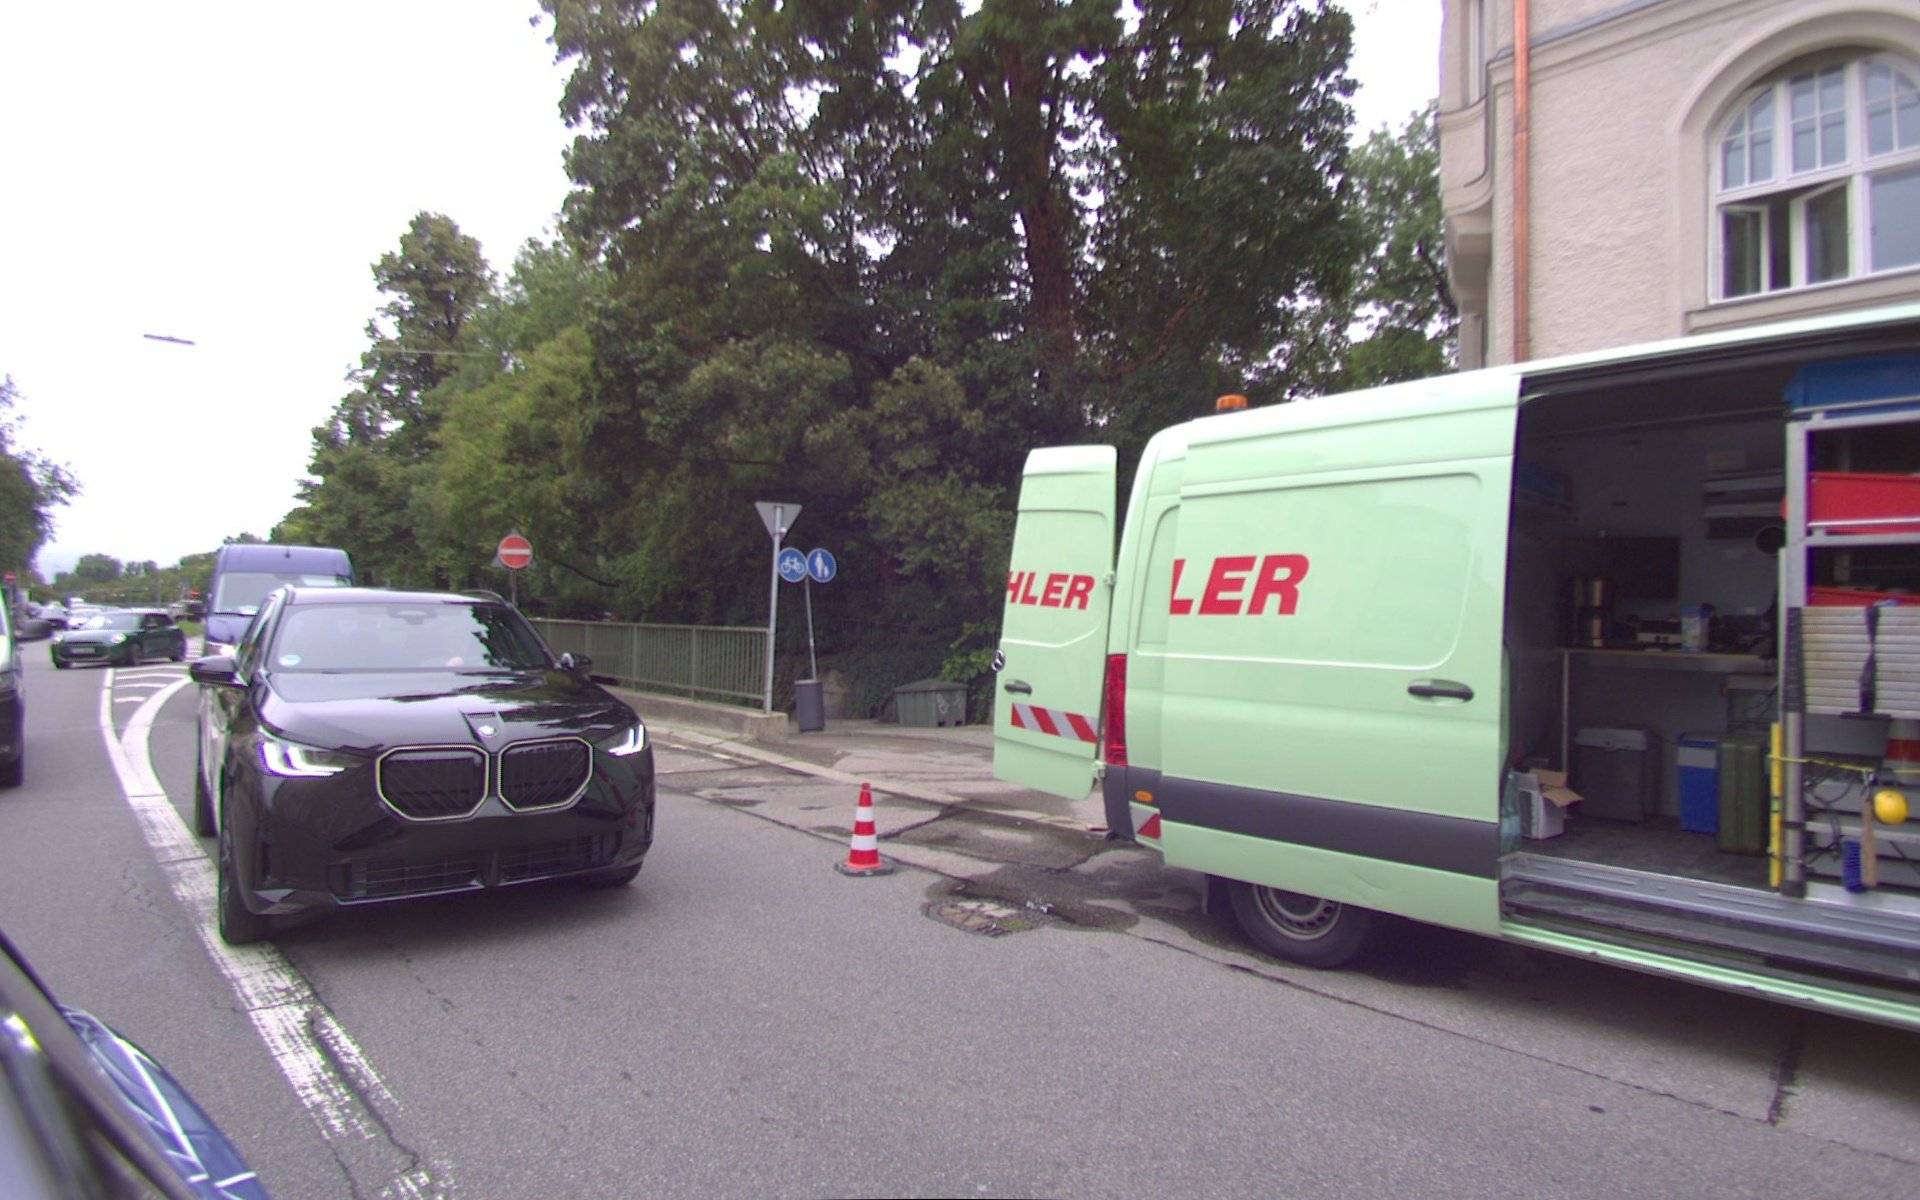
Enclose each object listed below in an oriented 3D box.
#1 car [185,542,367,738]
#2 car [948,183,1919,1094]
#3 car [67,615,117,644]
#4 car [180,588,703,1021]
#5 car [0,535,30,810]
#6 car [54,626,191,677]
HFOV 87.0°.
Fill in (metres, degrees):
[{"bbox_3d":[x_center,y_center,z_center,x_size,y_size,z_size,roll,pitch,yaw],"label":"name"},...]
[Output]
[{"bbox_3d":[-10.783,0.533,16.100,1.973,2.510,6.250,1,-1,-33],"label":"car"},{"bbox_3d":[3.038,0.130,4.085,2.116,2.592,6.800,1,-2,-44],"label":"car"},{"bbox_3d":[-51.321,1.745,59.884,1.967,1.608,4.008,3,-3,-37],"label":"car"},{"bbox_3d":[-3.336,0.783,5.977,1.892,1.577,4.302,2,-2,-39],"label":"car"},{"bbox_3d":[-9.883,0.591,9.333,1.800,2.115,5.640,1,-2,-42],"label":"car"},{"bbox_3d":[-22.121,1.315,26.884,1.471,1.223,3.622,0,-1,-16],"label":"car"}]
